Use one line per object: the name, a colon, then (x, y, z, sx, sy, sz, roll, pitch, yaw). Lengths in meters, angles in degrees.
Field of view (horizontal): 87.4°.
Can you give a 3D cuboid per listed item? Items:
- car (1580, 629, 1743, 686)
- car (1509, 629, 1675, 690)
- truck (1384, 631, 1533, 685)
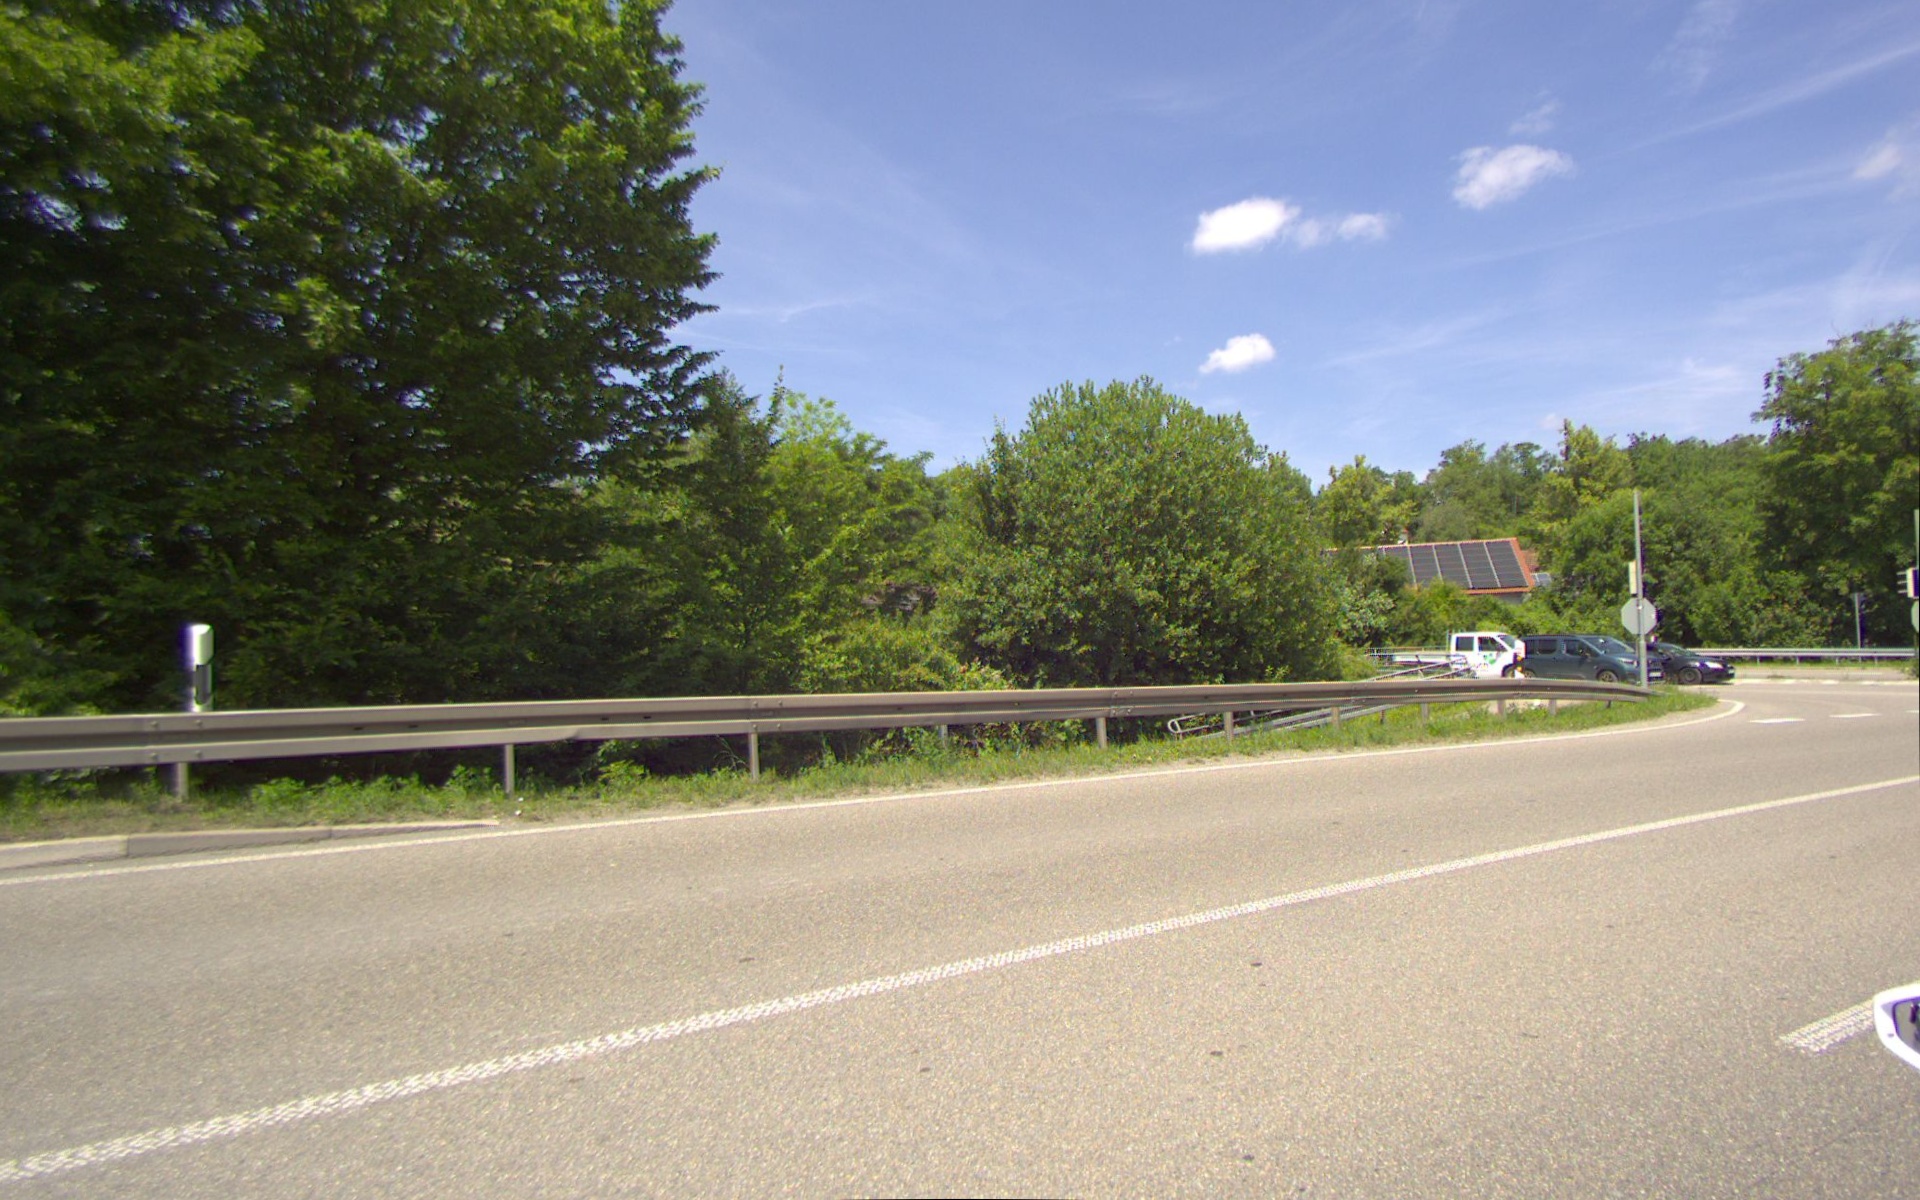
car: (23.782, 1.909, 34.241, 1.970, 1.793, 4.229, 2, -2, -20)
car: (20.185, 1.873, 32.308, 1.970, 1.793, 4.229, 2, -2, -20)
truck: (19.598, 2.260, 39.673, 2.028, 1.815, 4.832, 4, -2, -41)
